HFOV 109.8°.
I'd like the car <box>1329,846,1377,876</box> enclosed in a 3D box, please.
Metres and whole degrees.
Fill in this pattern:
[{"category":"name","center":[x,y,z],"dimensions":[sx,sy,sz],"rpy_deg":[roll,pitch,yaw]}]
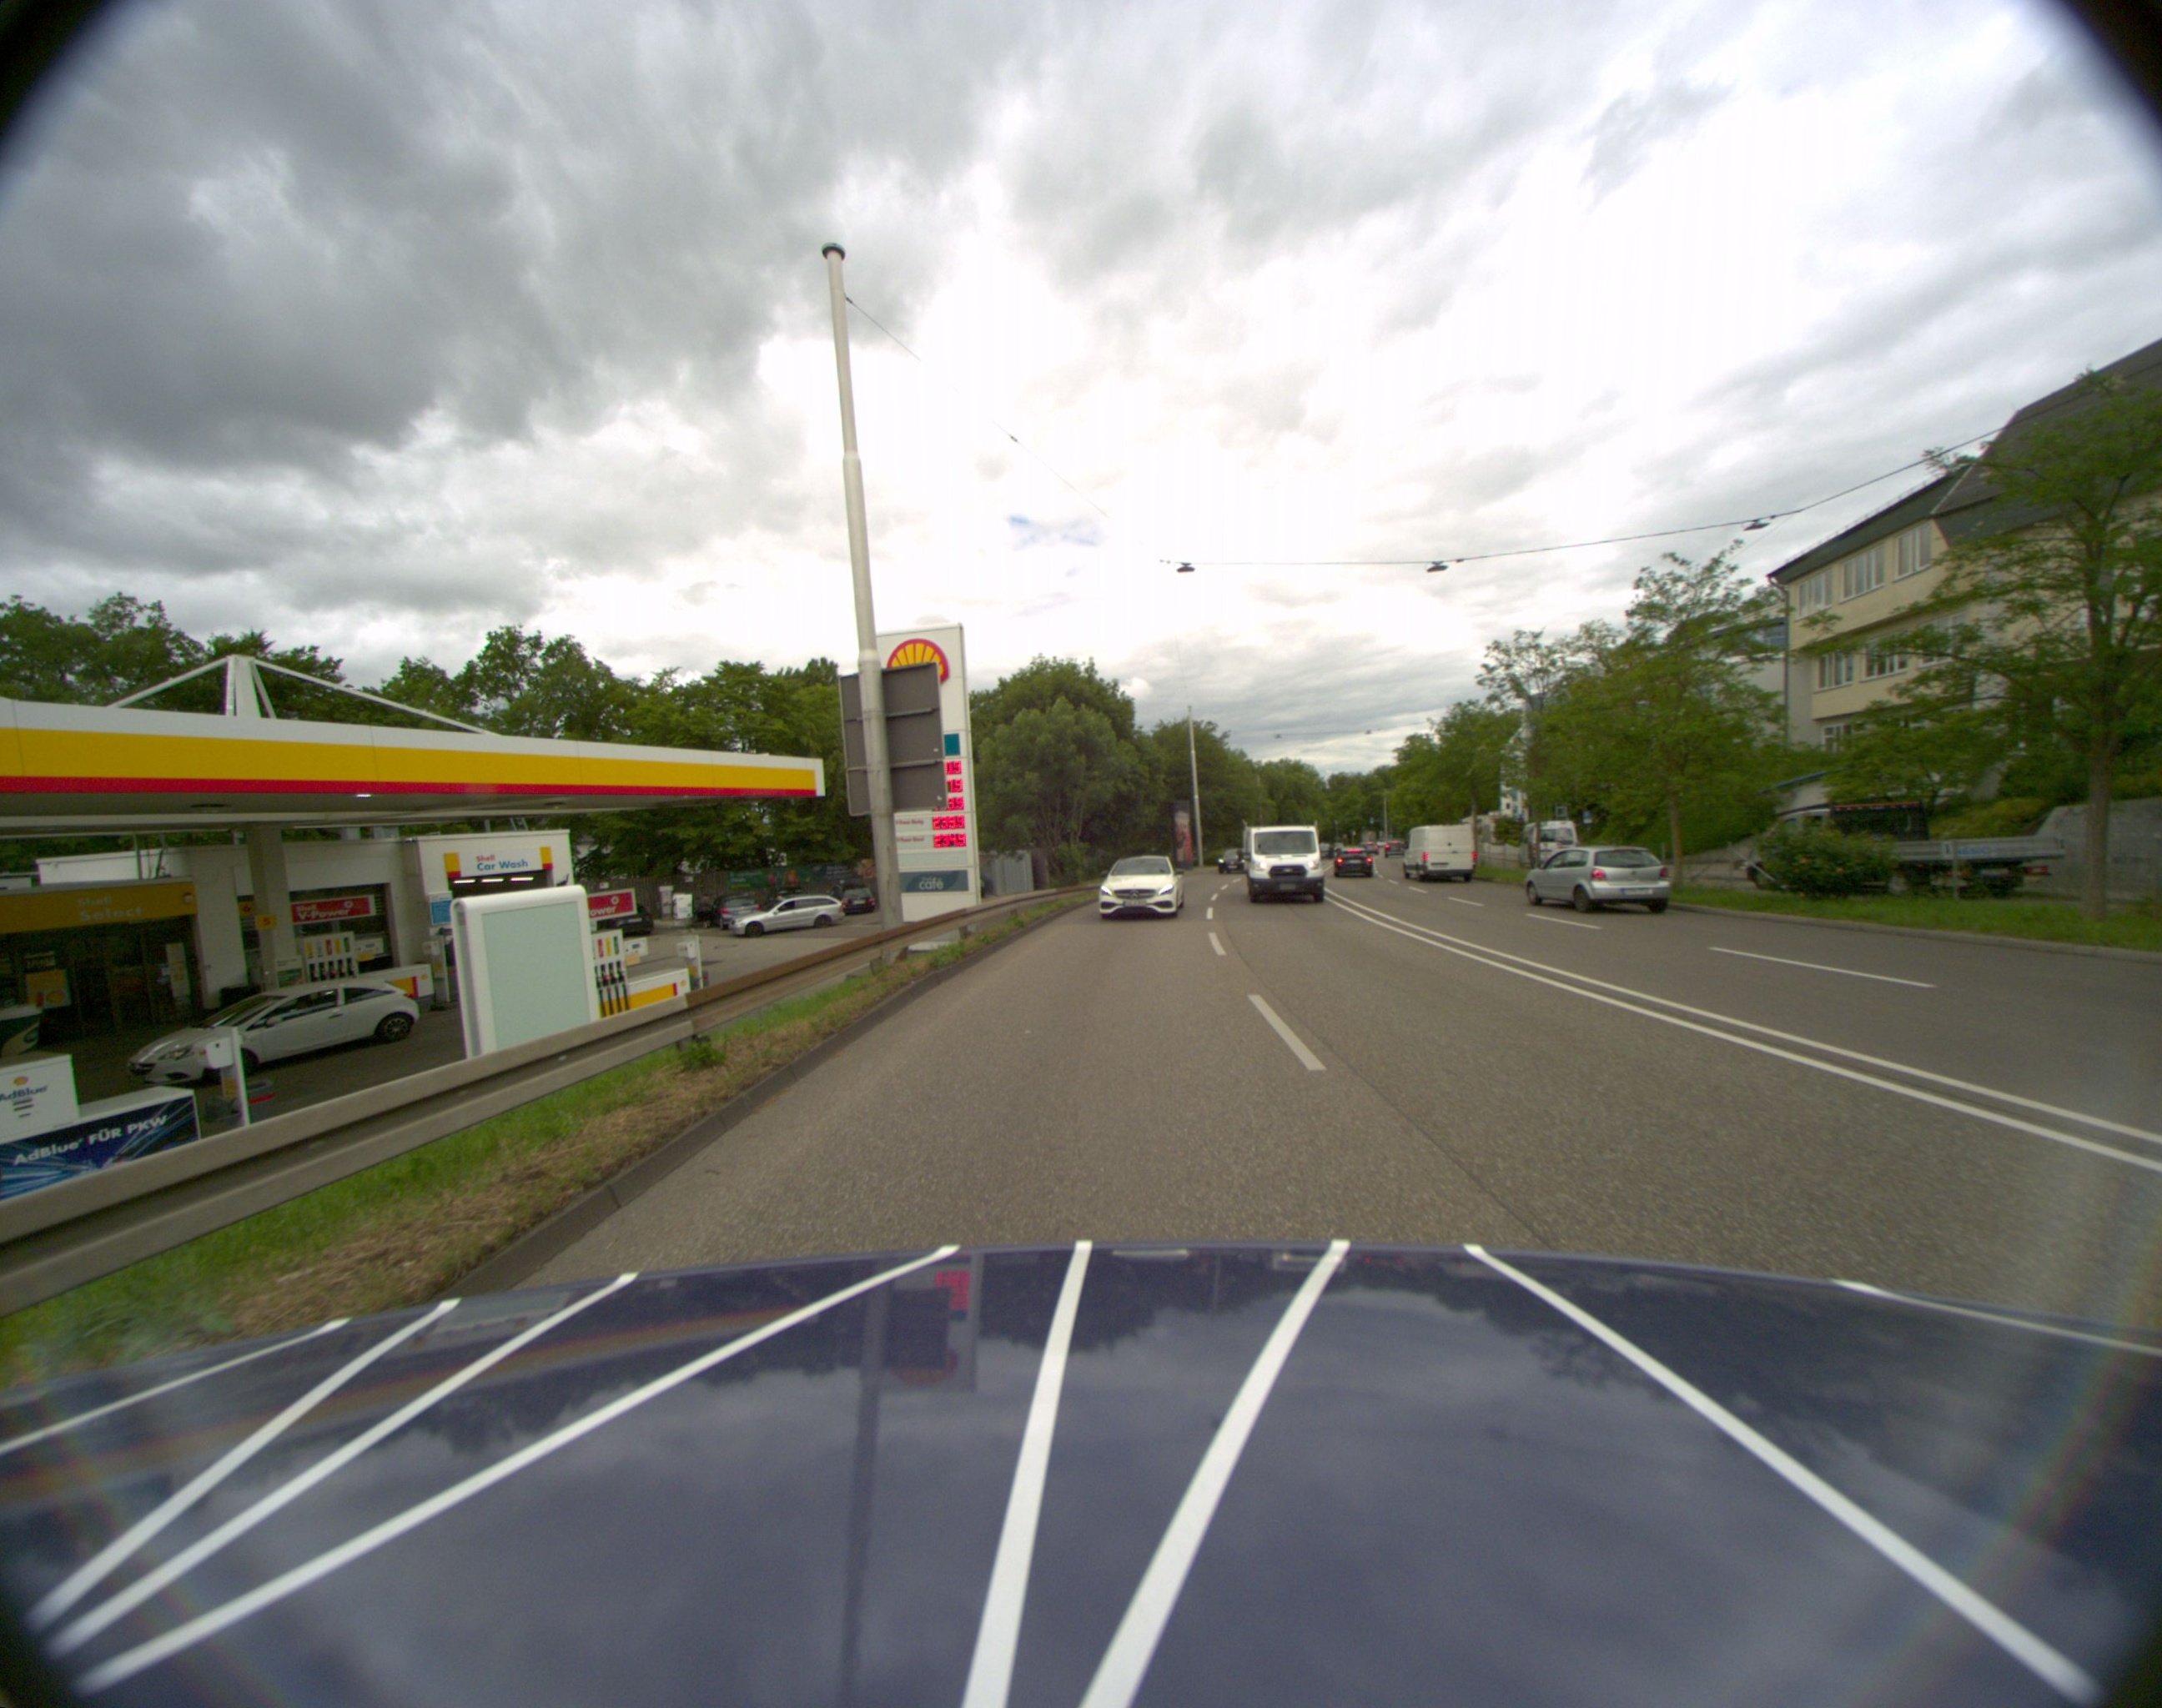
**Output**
[{"category":"car","center":[13.517,0.309,37.980],"dimensions":[1.738,1.406,4.433],"rpy_deg":[-1,1,13]}]

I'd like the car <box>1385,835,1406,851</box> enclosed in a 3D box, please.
[{"category":"car","center":[31.293,-1.078,75.661],"dimensions":[1.787,1.566,4.474],"rpy_deg":[-1,1,22]}]

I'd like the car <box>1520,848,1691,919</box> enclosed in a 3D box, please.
[{"category":"car","center":[11.811,0.605,17.429],"dimensions":[1.705,1.400,3.811],"rpy_deg":[-1,1,9]}]

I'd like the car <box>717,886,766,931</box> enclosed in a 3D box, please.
[{"category":"car","center":[-15.310,2.391,34.153],"dimensions":[1.630,1.511,4.089],"rpy_deg":[-4,4,-28]}]

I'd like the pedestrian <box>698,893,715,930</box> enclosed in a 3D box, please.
[{"category":"pedestrian","center":[-16.342,2.513,33.133],"dimensions":[0.469,1.530,0.430],"rpy_deg":[-7,1,-31]}]

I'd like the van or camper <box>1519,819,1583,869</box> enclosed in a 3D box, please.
[{"category":"van or camper","center":[25.239,-0.552,41.014],"dimensions":[1.995,2.459,5.718],"rpy_deg":[-1,1,22]}]

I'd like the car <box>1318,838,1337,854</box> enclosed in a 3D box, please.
[{"category":"car","center":[25.802,-0.840,79.409],"dimensions":[1.727,1.469,4.005],"rpy_deg":[-3,0,18]}]

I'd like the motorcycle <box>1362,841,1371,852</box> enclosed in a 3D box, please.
[{"category":"motorcycle","center":[29.510,-0.757,78.505],"dimensions":[0.483,1.050,2.272],"rpy_deg":[-1,1,28]}]

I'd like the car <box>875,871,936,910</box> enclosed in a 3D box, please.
[{"category":"car","center":[-8.975,1.804,38.663],"dimensions":[1.737,1.419,4.282],"rpy_deg":[-7,5,-29]}]

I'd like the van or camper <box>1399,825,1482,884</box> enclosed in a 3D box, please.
[{"category":"van or camper","center":[15.260,-0.015,32.638],"dimensions":[2.011,2.248,5.967],"rpy_deg":[-1,1,14]}]

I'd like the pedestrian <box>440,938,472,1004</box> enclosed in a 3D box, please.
[{"category":"pedestrian","center":[-16.889,3.159,20.546],"dimensions":[0.491,1.695,0.432],"rpy_deg":[-2,2,30]}]

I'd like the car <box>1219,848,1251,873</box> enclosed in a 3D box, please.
[{"category":"car","center":[9.340,0.365,46.238],"dimensions":[1.732,1.403,4.002],"rpy_deg":[-3,0,10]}]

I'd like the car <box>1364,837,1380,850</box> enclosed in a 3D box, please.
[{"category":"car","center":[36.165,-1.341,94.442],"dimensions":[1.787,1.530,4.081],"rpy_deg":[-2,1,20]}]

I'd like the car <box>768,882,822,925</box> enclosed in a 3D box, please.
[{"category":"car","center":[-13.428,2.258,35.564],"dimensions":[1.737,1.428,4.206],"rpy_deg":[-4,4,-28]}]

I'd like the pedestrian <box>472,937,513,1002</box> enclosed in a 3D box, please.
[{"category":"pedestrian","center":[-16.134,3.161,20.839],"dimensions":[0.543,1.695,0.610],"rpy_deg":[-2,1,16]}]

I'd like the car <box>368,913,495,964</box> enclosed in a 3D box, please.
[{"category":"car","center":[-23.497,2.994,27.495],"dimensions":[3.869,1.478,1.742],"rpy_deg":[-1,4,21]}]

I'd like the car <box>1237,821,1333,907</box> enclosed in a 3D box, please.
[{"category":"car","center":[5.965,0.253,22.967],"dimensions":[1.997,2.161,6.272],"rpy_deg":[-2,0,8]}]

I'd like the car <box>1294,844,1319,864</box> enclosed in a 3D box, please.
[{"category":"car","center":[17.684,0.008,59.584],"dimensions":[1.734,1.403,4.004],"rpy_deg":[-3,0,16]}]

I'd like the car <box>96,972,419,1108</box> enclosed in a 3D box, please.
[{"category":"car","center":[-16.170,3.542,15.223],"dimensions":[1.737,1.478,3.881],"rpy_deg":[-2,4,21]}]

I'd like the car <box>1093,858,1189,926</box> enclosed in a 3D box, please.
[{"category":"car","center":[1.590,0.835,18.633],"dimensions":[1.819,1.339,4.002],"rpy_deg":[0,2,12]}]

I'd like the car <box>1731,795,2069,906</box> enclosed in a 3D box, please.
[{"category":"car","center":[19.707,-0.114,18.950],"dimensions":[2.272,2.260,6.330],"rpy_deg":[-2,1,8]}]

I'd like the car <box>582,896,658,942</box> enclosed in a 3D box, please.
[{"category":"car","center":[-19.567,2.695,32.211],"dimensions":[4.093,1.428,1.726],"rpy_deg":[2,5,45]}]

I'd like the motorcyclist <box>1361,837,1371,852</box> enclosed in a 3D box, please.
[{"category":"motorcyclist","center":[29.292,-0.974,78.124],"dimensions":[0.760,1.477,0.962],"rpy_deg":[1,2,29]}]

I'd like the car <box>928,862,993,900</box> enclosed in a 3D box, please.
[{"category":"car","center":[-6.468,1.392,40.342],"dimensions":[1.737,1.583,4.281],"rpy_deg":[-7,6,-32]}]

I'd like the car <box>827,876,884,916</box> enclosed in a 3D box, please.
[{"category":"car","center":[-11.197,2.007,37.487],"dimensions":[1.737,1.429,4.282],"rpy_deg":[-7,5,-28]}]

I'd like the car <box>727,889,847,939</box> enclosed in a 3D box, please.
[{"category":"car","center":[-12.182,2.436,31.638],"dimensions":[4.300,1.424,1.597],"rpy_deg":[-5,5,-35]}]
